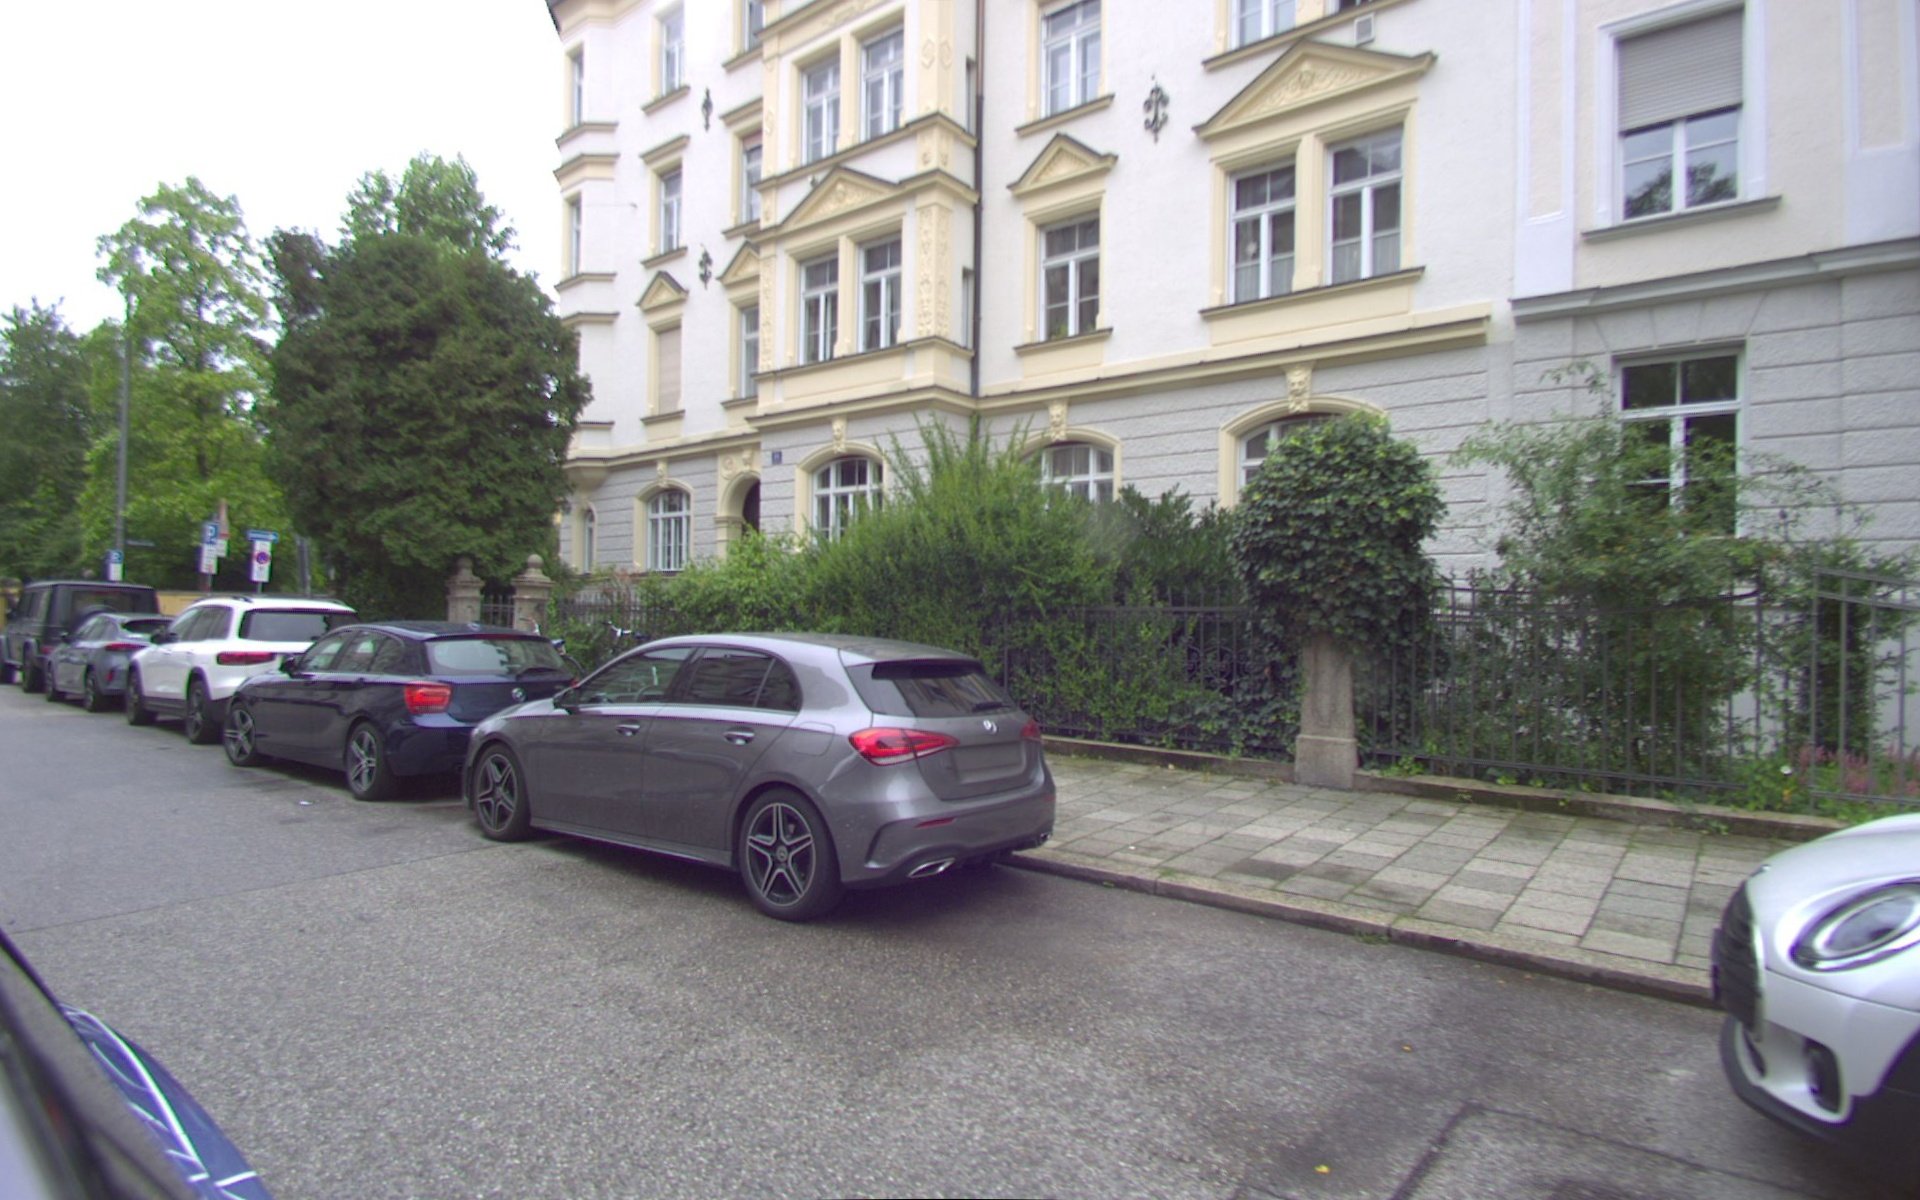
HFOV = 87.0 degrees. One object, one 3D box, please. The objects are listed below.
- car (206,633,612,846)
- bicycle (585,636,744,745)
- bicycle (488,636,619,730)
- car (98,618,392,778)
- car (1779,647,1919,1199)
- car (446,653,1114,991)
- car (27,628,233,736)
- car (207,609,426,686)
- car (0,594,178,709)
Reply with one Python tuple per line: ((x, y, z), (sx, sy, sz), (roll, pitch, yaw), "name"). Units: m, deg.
((-5.138, 1.070, 9.255), (3.993, 1.431, 1.752), (0, -1, 37), "car")
((-3.990, 1.158, 13.540), (2.528, 1.307, 0.747), (-1, -3, 40), "bicycle")
((-6.108, 1.194, 15.123), (2.528, 1.270, 0.689), (-1, -3, 40), "bicycle")
((-9.031, 1.077, 12.642), (4.480, 1.661, 1.788), (-1, -3, 39), "car")
((4.050, 0.878, 1.744), (4.075, 1.446, 1.779), (0, -1, 39), "car")
((-1.304, 1.070, 6.360), (4.185, 1.375, 1.719), (-1, -3, 37), "car")
((-13.083, 1.227, 15.882), (3.914, 1.441, 1.627), (0, -4, 38), "car")
((-16.942, 1.208, 26.897), (2.048, 1.872, 4.472), (-1, -2, 32), "car")
((-16.509, 0.881, 18.914), (4.812, 1.901, 1.893), (0, -2, 39), "car")
